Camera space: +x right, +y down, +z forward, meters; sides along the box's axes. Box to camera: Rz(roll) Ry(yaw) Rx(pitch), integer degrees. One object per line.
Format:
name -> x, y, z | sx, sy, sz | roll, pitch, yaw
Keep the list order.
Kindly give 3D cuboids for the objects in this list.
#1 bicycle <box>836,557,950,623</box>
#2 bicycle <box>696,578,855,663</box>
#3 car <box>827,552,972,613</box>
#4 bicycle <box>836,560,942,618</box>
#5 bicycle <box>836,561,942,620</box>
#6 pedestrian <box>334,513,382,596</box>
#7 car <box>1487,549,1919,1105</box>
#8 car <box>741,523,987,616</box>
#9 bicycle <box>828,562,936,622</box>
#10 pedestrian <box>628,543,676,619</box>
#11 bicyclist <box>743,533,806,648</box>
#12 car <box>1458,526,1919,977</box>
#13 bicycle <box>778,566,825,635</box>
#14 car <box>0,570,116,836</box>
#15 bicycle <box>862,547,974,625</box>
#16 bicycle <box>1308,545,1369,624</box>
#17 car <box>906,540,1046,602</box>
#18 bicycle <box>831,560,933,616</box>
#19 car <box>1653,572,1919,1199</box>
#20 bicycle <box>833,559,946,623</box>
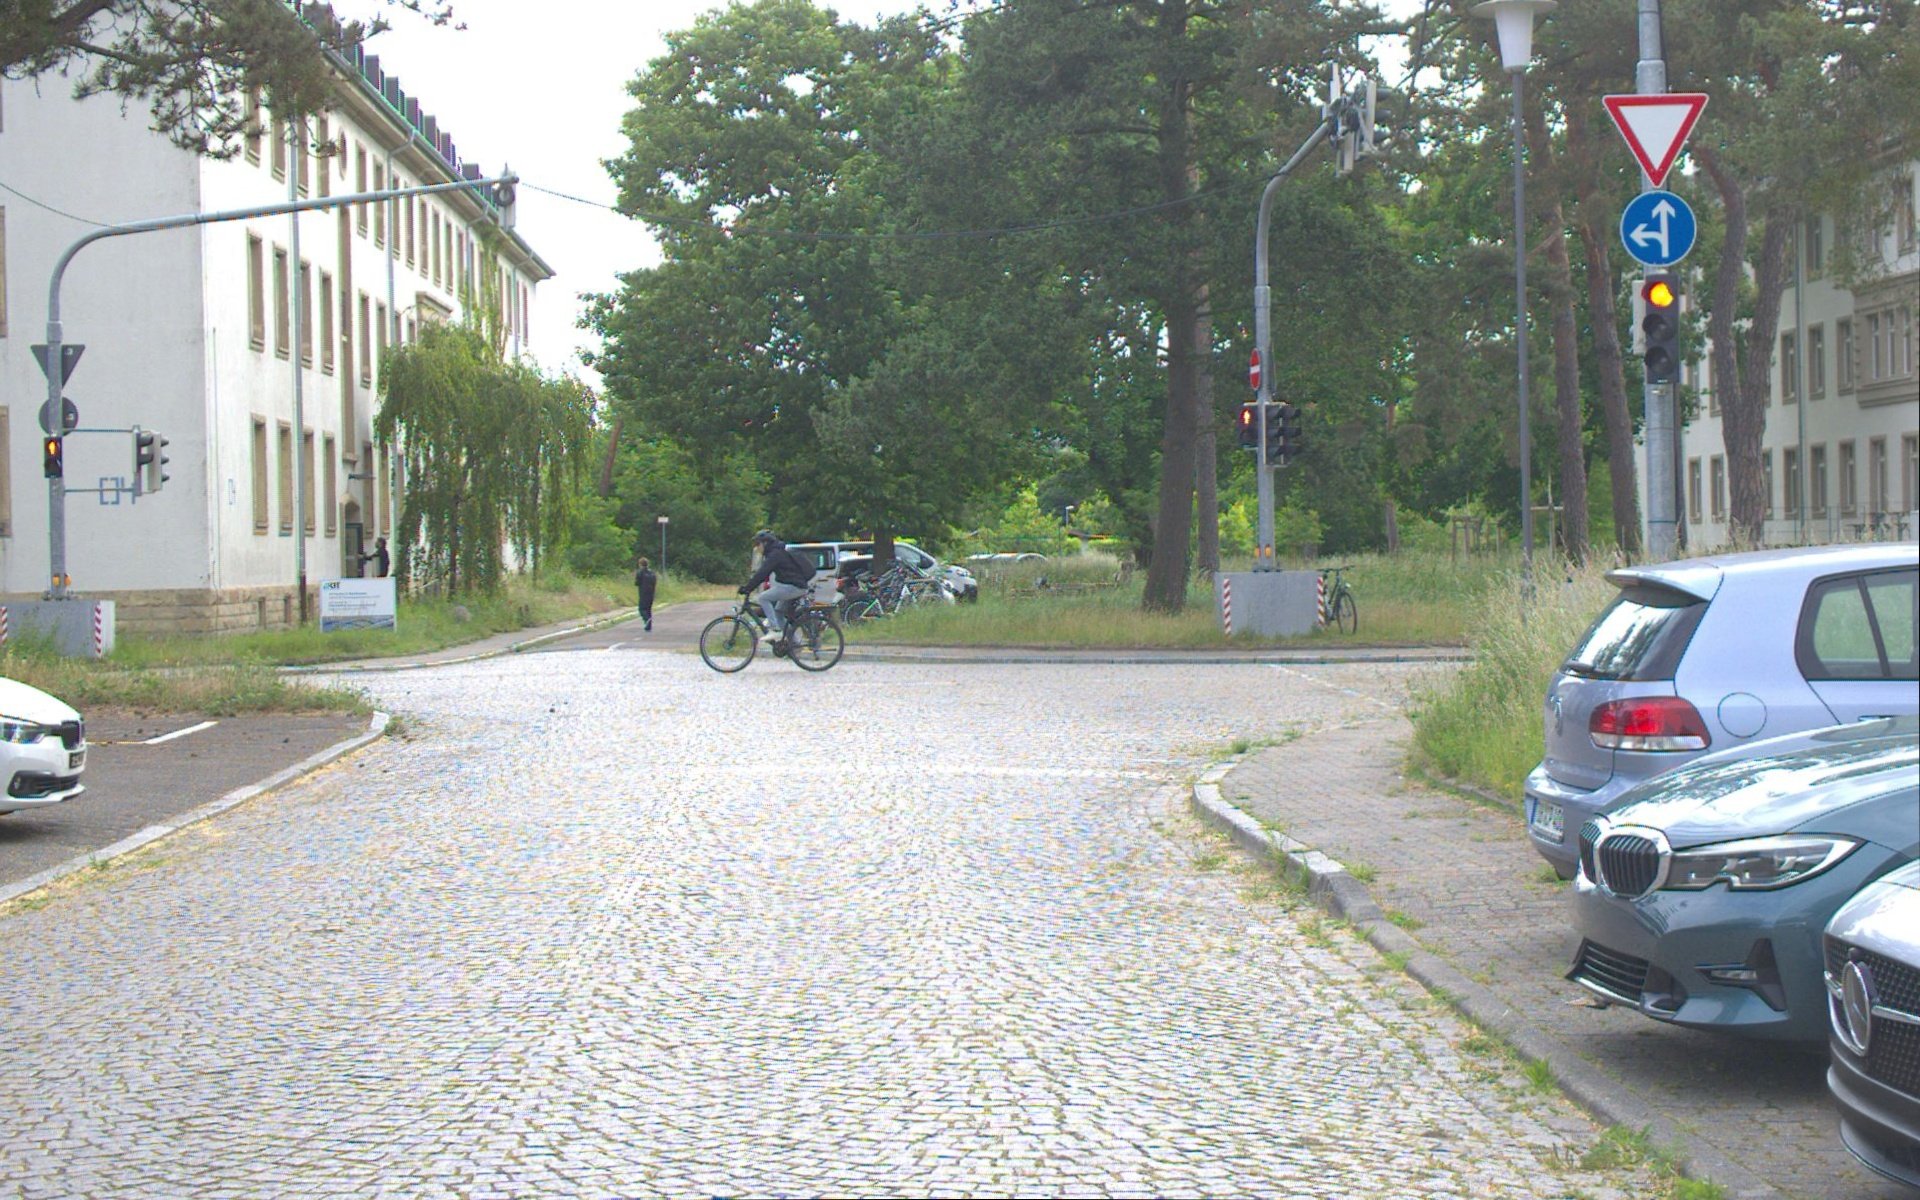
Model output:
bicycle -> -1.193, -0.178, 61.397 | 1.954, 1.128, 0.588 | -1, 1, -8
bicycle -> -2.293, 0.249, 42.811 | 1.955, 1.020, 0.605 | -1, 1, -2
car -> -1.347, -0.400, 75.949 | 3.005, 1.264, 1.535 | -1, 1, -7
bicycle -> -1.360, -0.217, 66.216 | 1.955, 1.066, 0.588 | -1, 1, -26
bicycle -> -1.336, -0.182, 64.862 | 1.955, 1.066, 0.588 | -2, 1, -31
pedestrian -> -13.448, -1.018, 76.793 | 0.774, 1.831, 0.741 | -2, 1, -33
car -> 4.116, 0.511, 10.227 | 4.680, 1.412, 1.871 | -3, 1, -4
car -> -2.227, -0.718, 79.456 | 5.359, 1.918, 2.025 | -2, 1, -11
bicycle -> -1.439, -0.161, 63.508 | 1.955, 1.066, 0.588 | -2, 1, -31
pedestrian -> -6.578, -0.407, 73.406 | 0.738, 1.613, 0.776 | -2, 1, -27
bicyclist -> -2.301, -0.125, 42.794 | 0.749, 1.405, 0.605 | -1, 1, -2
car -> 3.951, 0.455, 12.674 | 3.927, 1.472, 1.642 | -3, 1, 0
bicycle -> -2.684, -0.004, 58.160 | 0.603, 1.128, 1.962 | -1, 1, -8
car -> -6.962, 0.507, 19.490 | 3.947, 1.416, 1.650 | 2, 1, -2
bicycle -> -0.770, -0.264, 62.873 | 1.954, 1.379, 0.588 | -1, 1, -8
bicycle -> 5.438, -0.240, 49.462 | 0.586, 1.102, 1.962 | -1, 1, -2
car -> 0.366, -0.707, 83.411 | 3.231, 1.411, 1.725 | -1, 1, -4
bicycle -> -1.550, -0.250, 68.543 | 1.955, 1.066, 0.588 | -1, 1, -26
car -> 3.997, 0.572, 7.536 | 4.421, 1.412, 1.871 | -3, 1, -11
bicycle -> -1.279, -0.163, 62.028 | 1.954, 1.113, 0.588 | -1, 1, -8
